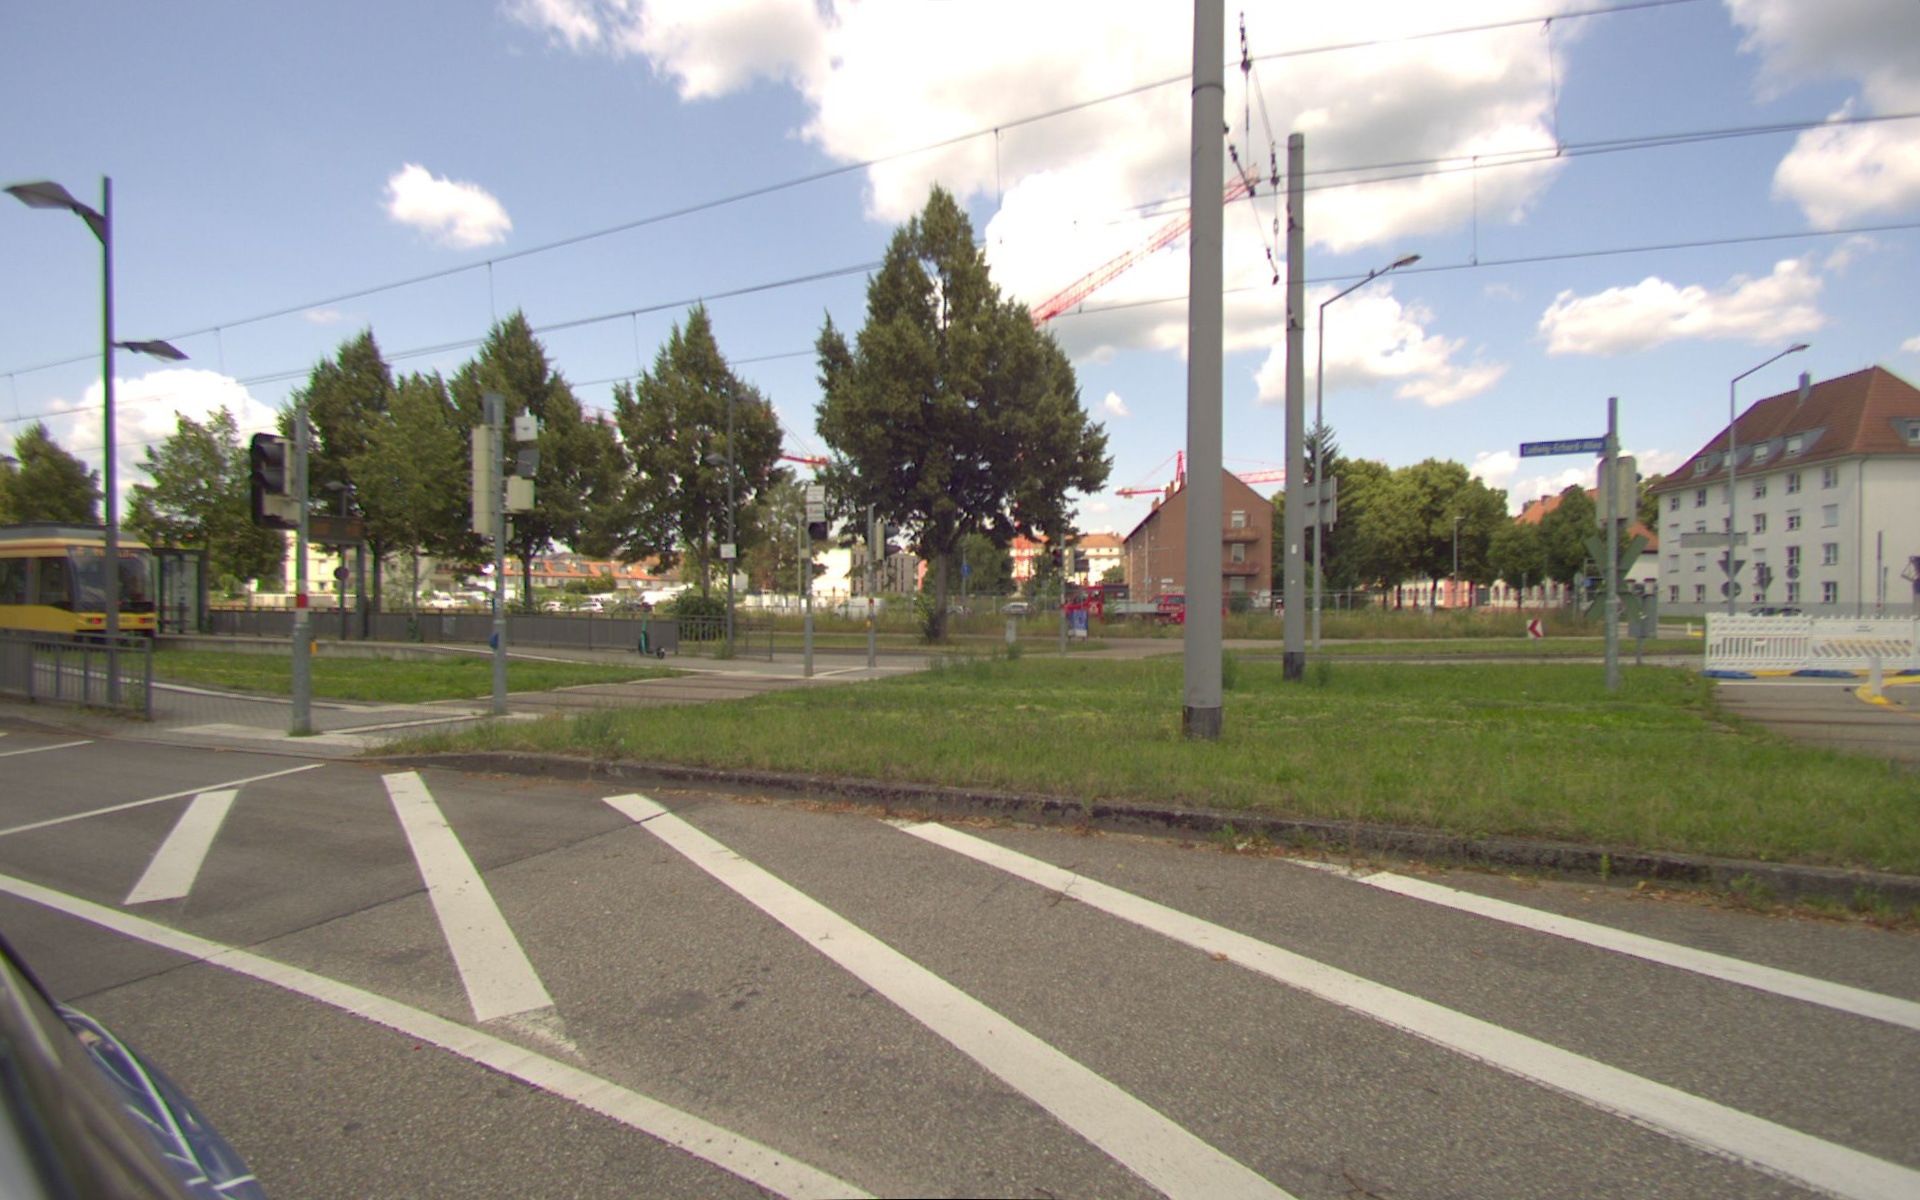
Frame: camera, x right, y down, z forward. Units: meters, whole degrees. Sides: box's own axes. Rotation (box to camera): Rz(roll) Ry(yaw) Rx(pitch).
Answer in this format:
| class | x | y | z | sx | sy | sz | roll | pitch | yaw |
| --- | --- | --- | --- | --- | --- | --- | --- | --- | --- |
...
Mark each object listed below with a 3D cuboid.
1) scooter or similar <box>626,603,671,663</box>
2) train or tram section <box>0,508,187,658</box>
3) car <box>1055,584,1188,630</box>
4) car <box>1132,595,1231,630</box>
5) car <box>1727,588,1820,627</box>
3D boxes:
| class | x | y | z | sx | sy | sz | roll | pitch | yaw |
| --- | --- | --- | --- | --- | --- | --- | --- | --- | --- |
| scooter or similar | -7.280 | 0.743 | 23.619 | 0.413 | 1.311 | 1.347 | 0 | 2 | -44 |
| train or tram section | -27.939 | -0.364 | 29.525 | 13.401 | 3.768 | 2.827 | -1 | 0 | 26 |
| car | 8.119 | 0.354 | 51.650 | 2.357 | 2.214 | 6.849 | 0 | 0 | -40 |
| car | 12.435 | 0.675 | 57.026 | 2.057 | 1.866 | 5.187 | 0 | 0 | -45 |
| car | 45.169 | 0.422 | 56.326 | 1.978 | 2.029 | 4.710 | -1 | 0 | 10 |
